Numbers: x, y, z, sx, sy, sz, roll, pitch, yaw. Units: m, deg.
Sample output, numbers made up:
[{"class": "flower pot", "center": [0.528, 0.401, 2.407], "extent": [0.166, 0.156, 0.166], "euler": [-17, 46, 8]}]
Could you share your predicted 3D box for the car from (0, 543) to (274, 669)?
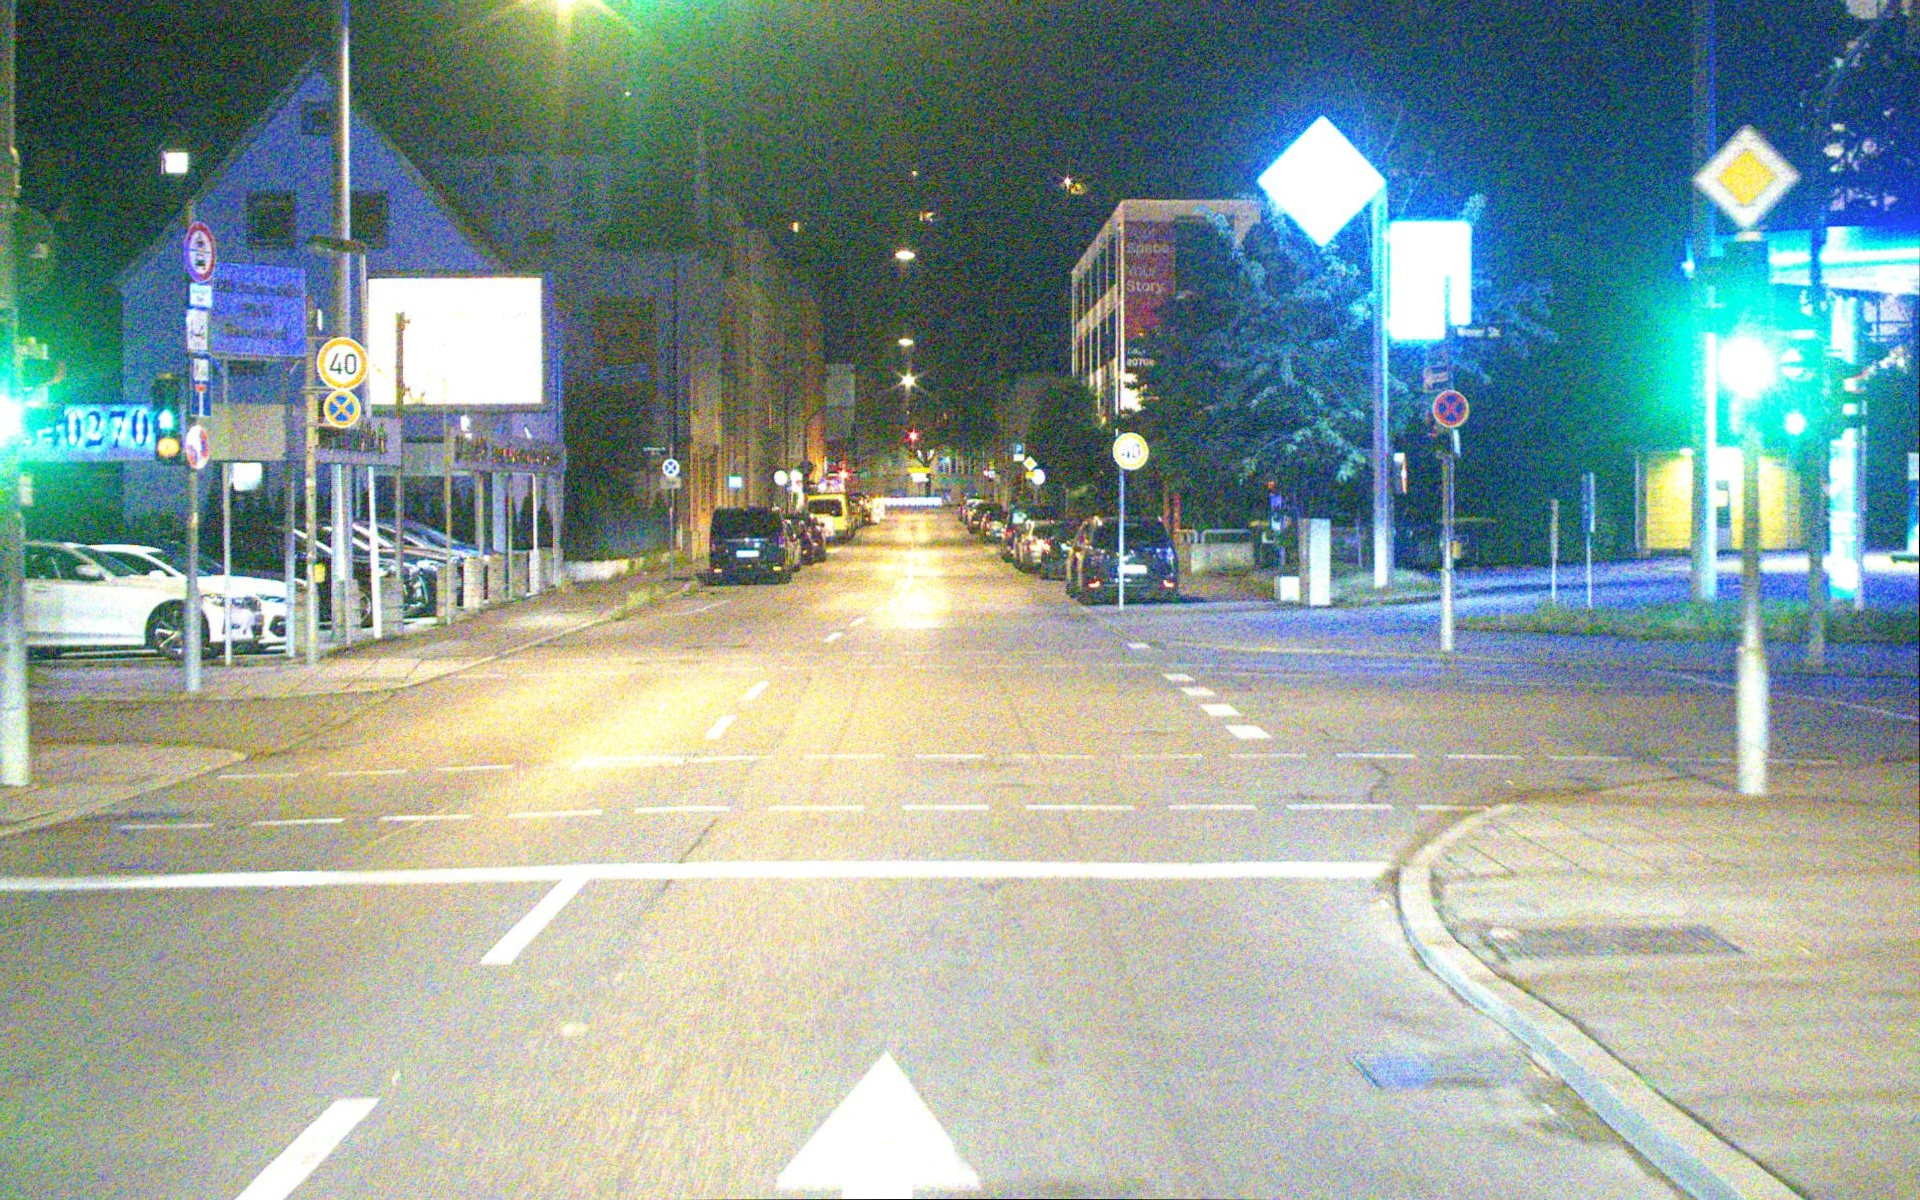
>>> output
[{"class": "car", "center": [-10.549, 0.061, 40.764], "extent": [4.439, 1.444, 2.000], "euler": [0, 1, -1]}]

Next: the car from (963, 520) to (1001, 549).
[{"class": "car", "center": [1.181, -3.482, 184.220], "extent": [1.993, 1.515, 4.000], "euler": [0, 1, 1]}]

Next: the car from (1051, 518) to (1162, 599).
[{"class": "car", "center": [2.966, -0.875, 70.419], "extent": [1.993, 1.590, 4.001], "euler": [0, 1, -2]}]

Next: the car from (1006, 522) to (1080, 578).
[{"class": "car", "center": [2.293, -1.386, 95.501], "extent": [1.993, 1.515, 4.000], "euler": [0, 1, 1]}]

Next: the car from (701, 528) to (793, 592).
[{"class": "car", "center": [-5.132, -0.968, 83.240], "extent": [1.993, 1.497, 4.000], "euler": [0, 1, 0]}]

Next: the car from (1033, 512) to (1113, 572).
[{"class": "car", "center": [2.894, -1.482, 88.537], "extent": [1.993, 1.515, 4.000], "euler": [0, 1, 1]}]

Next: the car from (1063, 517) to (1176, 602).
[{"class": "car", "center": [2.970, -0.786, 64.628], "extent": [1.993, 1.511, 4.000], "euler": [0, 1, 1]}]

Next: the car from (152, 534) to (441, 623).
[{"class": "car", "center": [-11.024, -0.368, 57.333], "extent": [4.439, 1.444, 2.000], "euler": [0, 1, -1]}]

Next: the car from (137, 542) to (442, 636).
[{"class": "car", "center": [-10.545, -0.180, 54.305], "extent": [4.439, 1.444, 2.000], "euler": [0, 1, -1]}]

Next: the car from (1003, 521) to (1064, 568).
[{"class": "car", "center": [2.426, -1.822, 113.765], "extent": [1.993, 1.515, 4.000], "euler": [0, 1, 1]}]

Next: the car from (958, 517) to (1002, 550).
[{"class": "car", "center": [0.961, -3.122, 160.894], "extent": [1.993, 1.515, 4.000], "euler": [0, 1, 1]}]

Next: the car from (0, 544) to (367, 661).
[{"class": "car", "center": [-9.936, 0.016, 43.789], "extent": [4.438, 1.444, 2.000], "euler": [0, 1, -2]}]
